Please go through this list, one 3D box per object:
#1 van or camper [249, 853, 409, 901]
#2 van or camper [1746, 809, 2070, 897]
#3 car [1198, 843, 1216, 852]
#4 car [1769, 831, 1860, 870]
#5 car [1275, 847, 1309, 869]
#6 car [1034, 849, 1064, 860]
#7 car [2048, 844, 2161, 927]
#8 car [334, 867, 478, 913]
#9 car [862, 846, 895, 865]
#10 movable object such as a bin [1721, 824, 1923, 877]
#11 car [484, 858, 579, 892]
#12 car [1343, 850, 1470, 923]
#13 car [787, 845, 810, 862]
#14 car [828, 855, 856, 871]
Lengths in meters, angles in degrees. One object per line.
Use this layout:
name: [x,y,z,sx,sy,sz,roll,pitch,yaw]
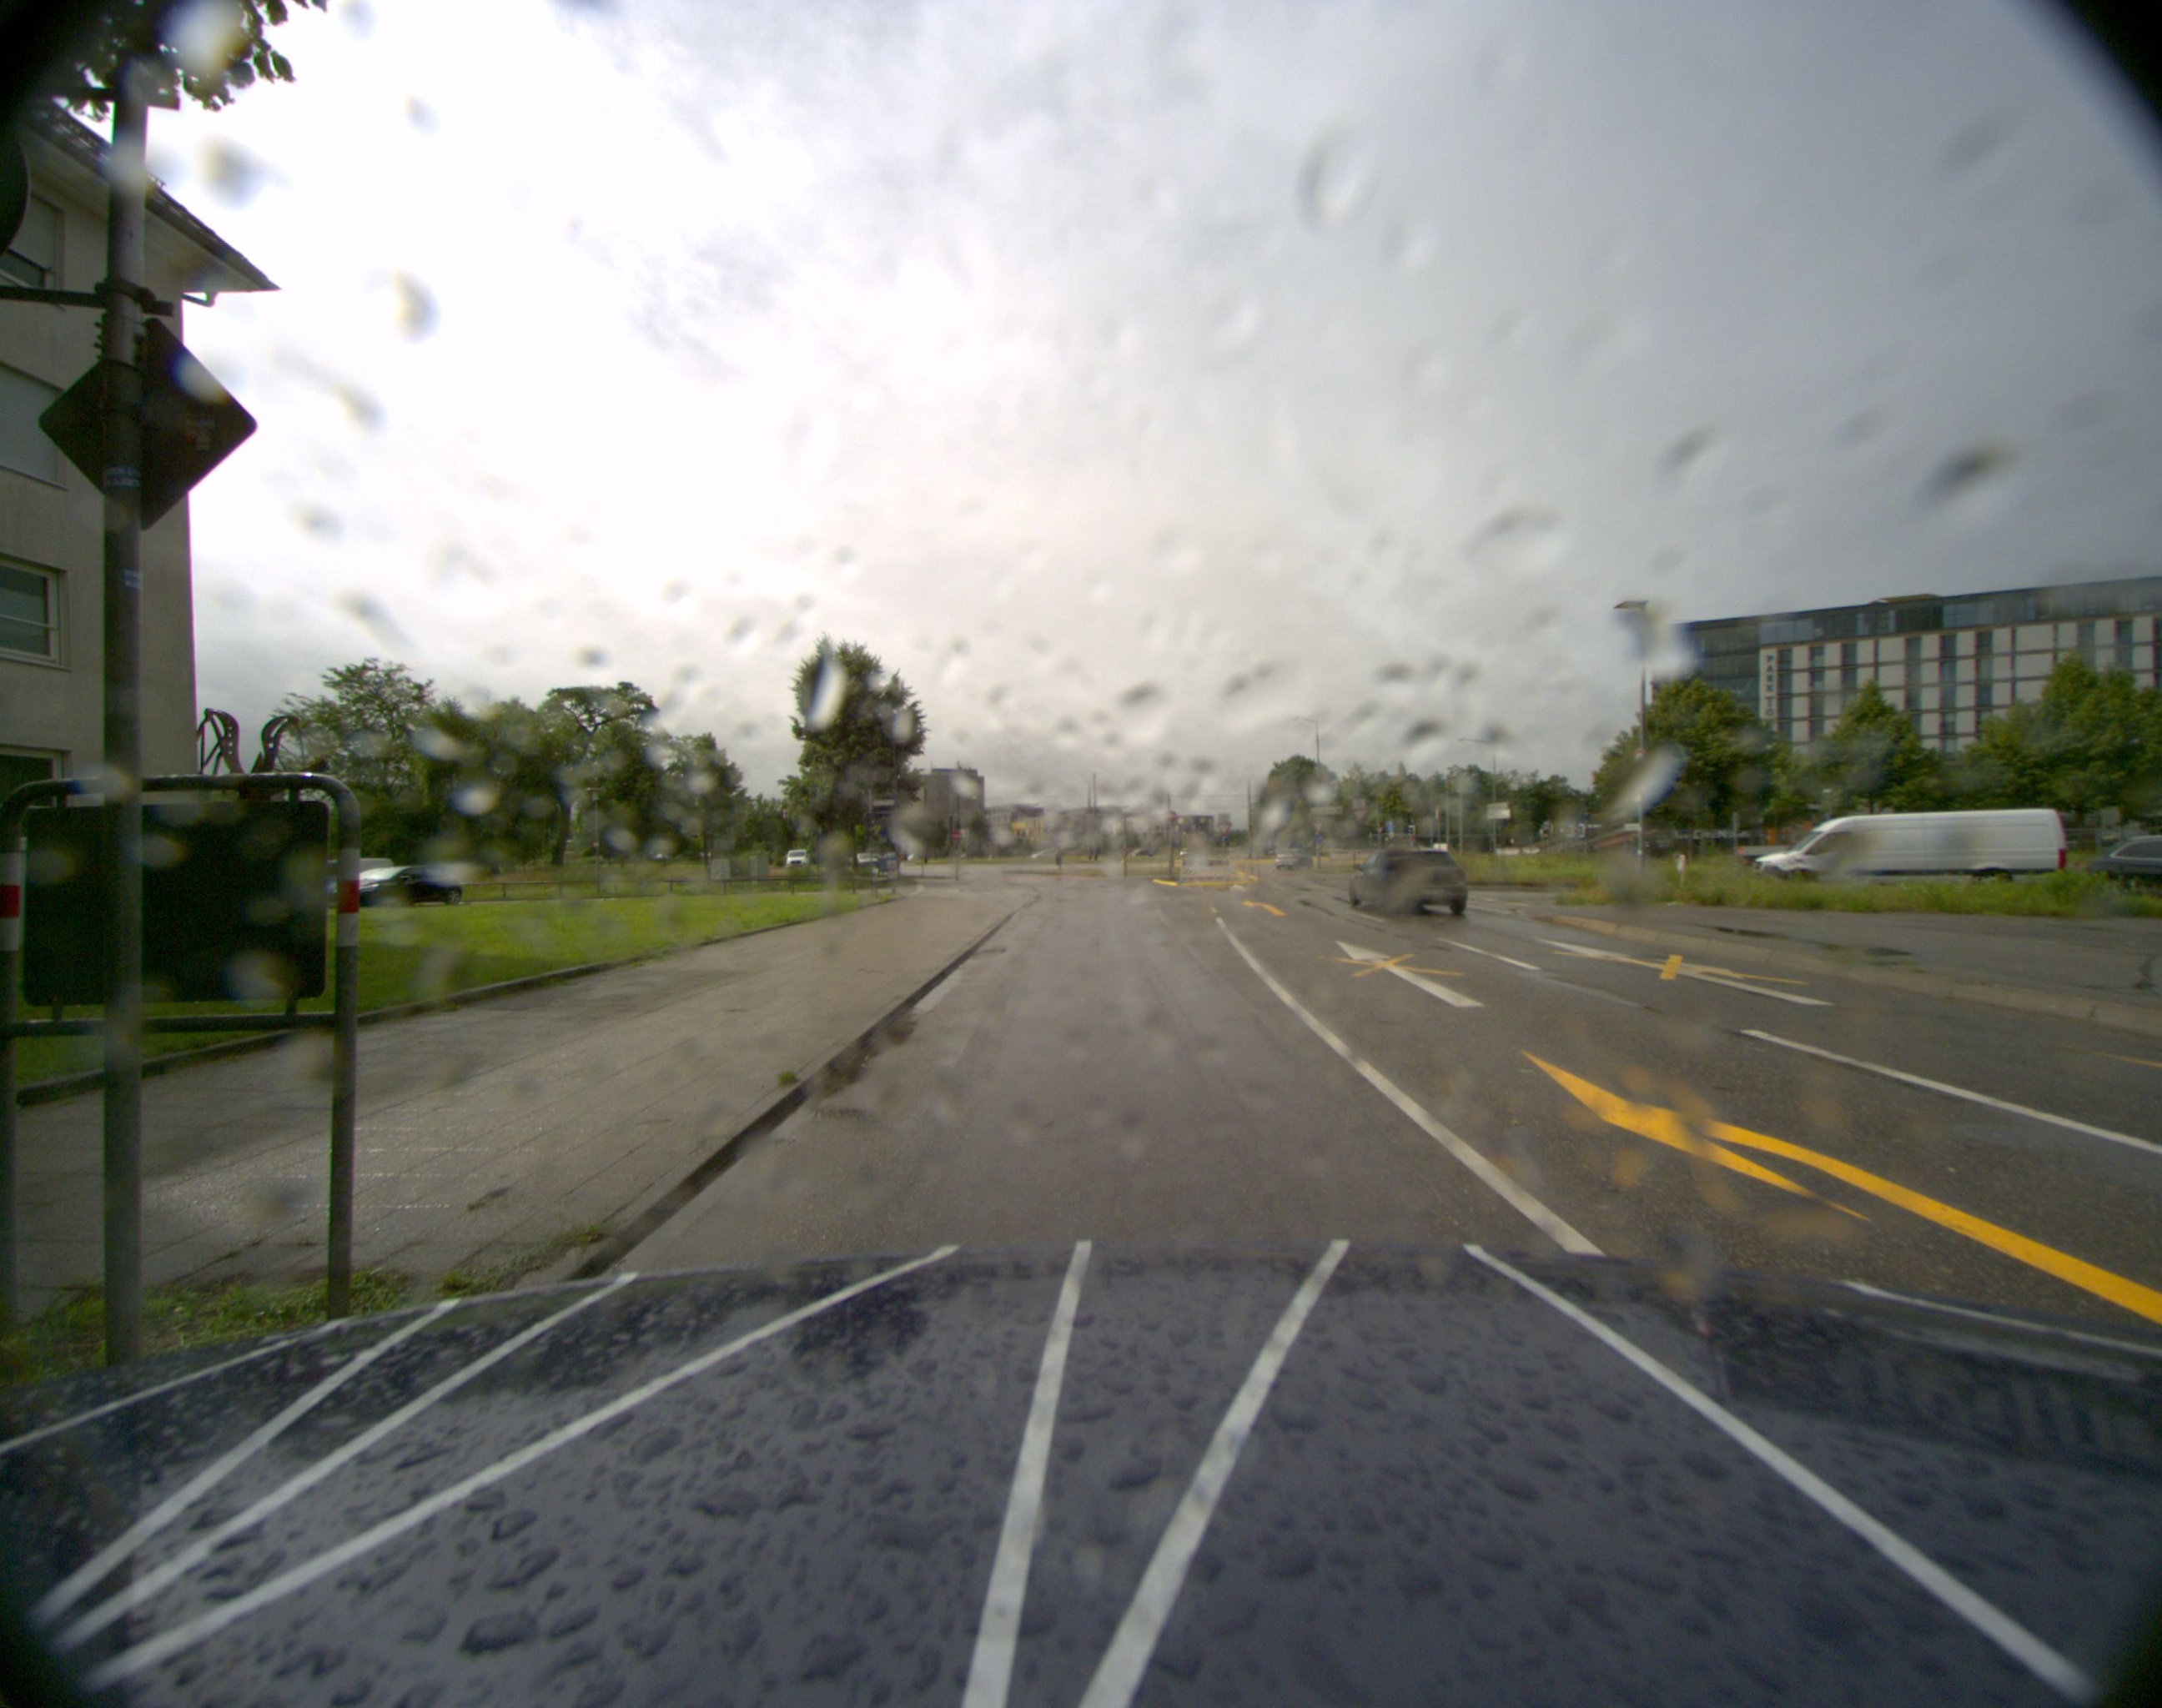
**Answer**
van or camper: [-36.127,1.027,36.801,1.998,2.092,5.679,-1,0,1]
van or camper: [27.249,0.001,25.592,6.963,2.632,2.516,-1,1,32]
car: [22.113,-1.152,133.267,1.664,1.521,3.487,-1,0,40]
car: [40.028,-0.188,41.609,1.996,2.002,4.005,-1,1,17]
car: [15.034,0.254,53.999,1.739,1.406,4.186,-1,1,24]
car: [-4.816,0.005,113.139,4.123,1.521,1.666,-1,0,-23]
car: [22.242,0.625,14.845,1.757,1.608,4.331,-1,0,12]
car: [-22.568,1.158,25.611,1.391,1.318,3.875,-1,0,-1]
car: [-19.334,0.152,72.696,1.667,1.678,4.207,-1,0,6]
movable object such as a bin: [35.565,-0.144,36.854,6.596,2.373,2.681,-1,1,31]
car: [-26.875,1.010,37.339,1.934,1.539,3.771,-1,0,-1]
car: [7.365,0.667,17.572,1.683,1.499,3.795,-1,0,7]
car: [-29.191,-0.101,78.713,1.894,1.703,4.223,0,0,-16]
car: [-26.231,0.942,83.377,1.769,1.587,3.999,-1,1,0]
